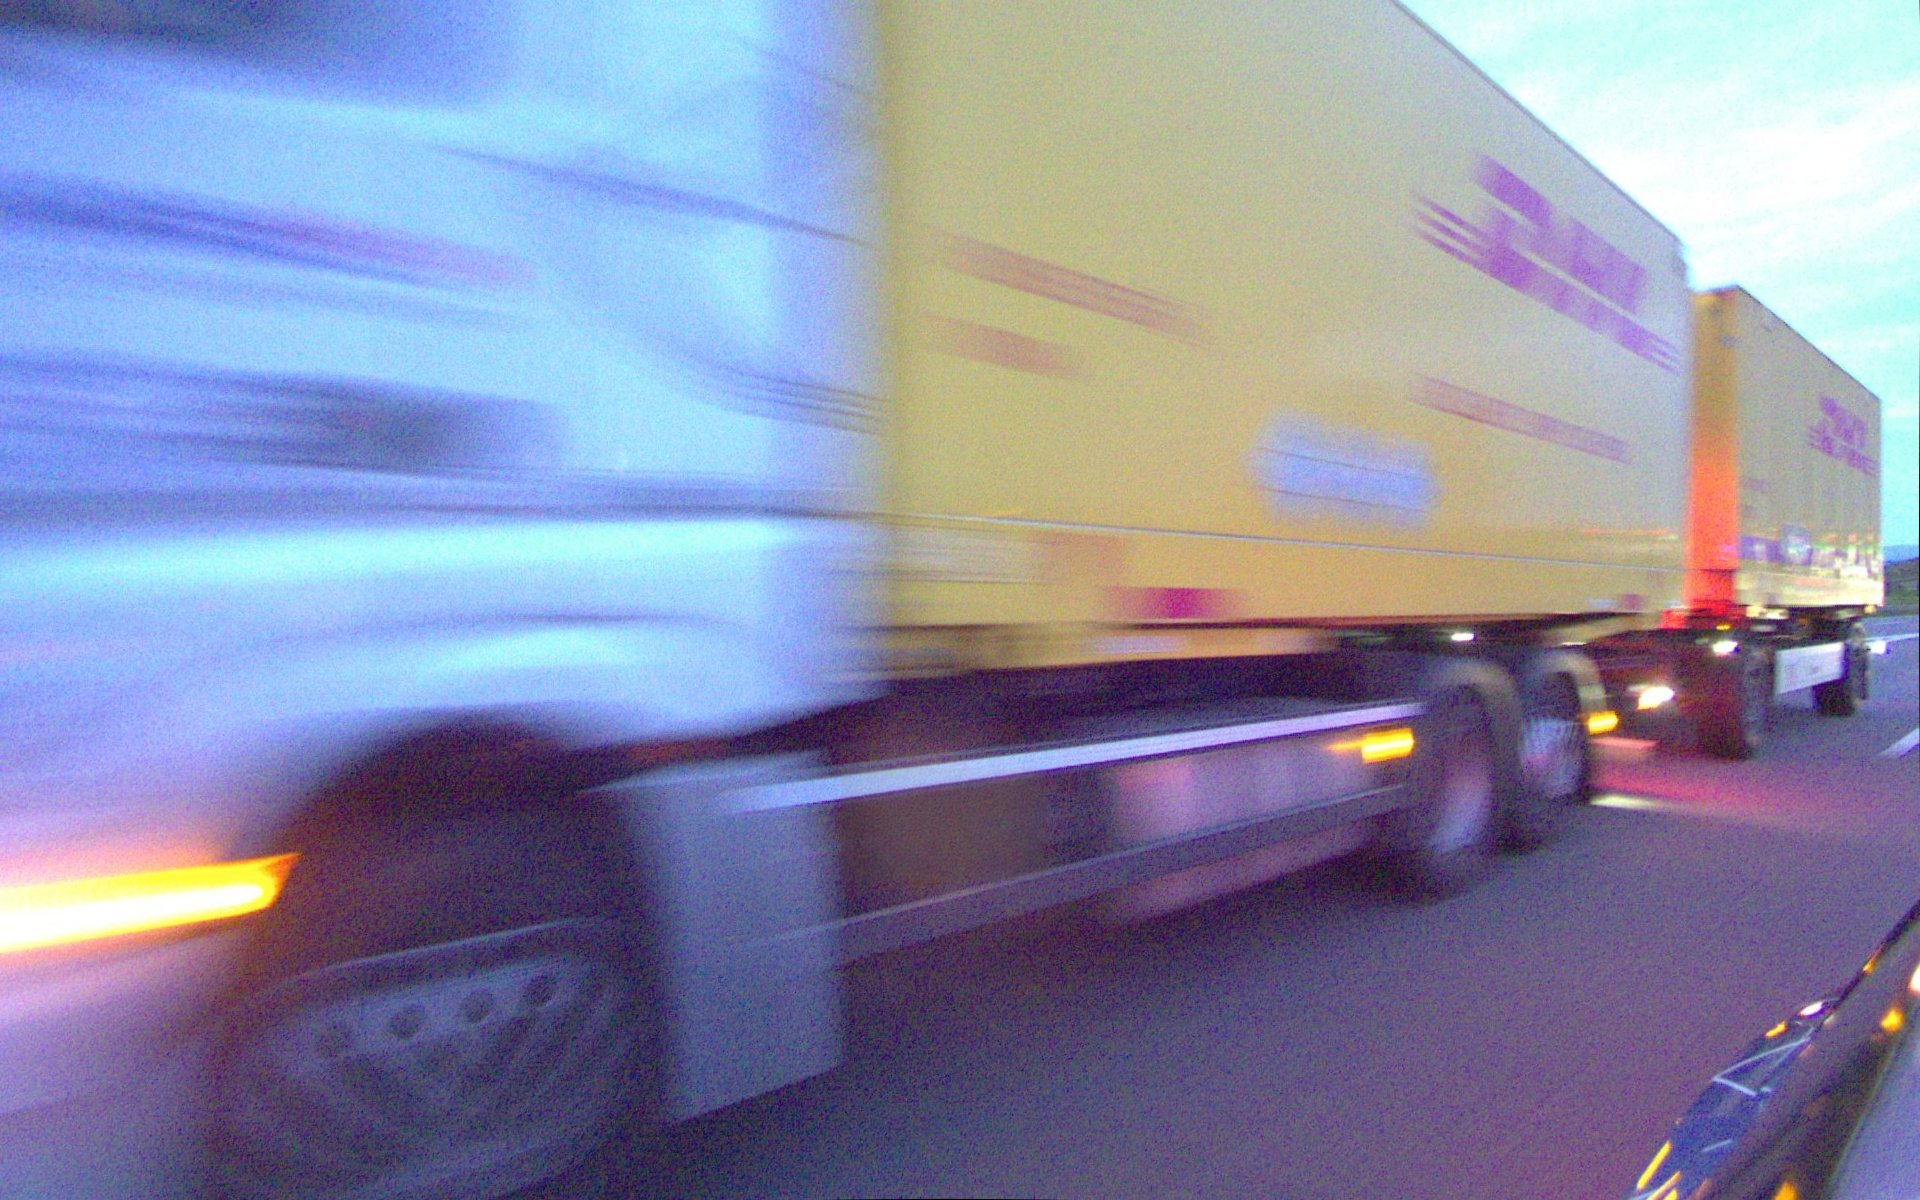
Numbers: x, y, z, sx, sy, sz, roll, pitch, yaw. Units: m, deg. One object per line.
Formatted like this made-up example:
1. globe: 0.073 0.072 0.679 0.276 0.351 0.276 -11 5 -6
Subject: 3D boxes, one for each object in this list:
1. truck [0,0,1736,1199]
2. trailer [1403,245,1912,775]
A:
1. truck: 1.177 -0.703 5.362 10.337 4.122 2.695 0 0 -41
2. trailer: 8.535 -0.729 11.739 8.675 4.122 2.727 0 0 -40
